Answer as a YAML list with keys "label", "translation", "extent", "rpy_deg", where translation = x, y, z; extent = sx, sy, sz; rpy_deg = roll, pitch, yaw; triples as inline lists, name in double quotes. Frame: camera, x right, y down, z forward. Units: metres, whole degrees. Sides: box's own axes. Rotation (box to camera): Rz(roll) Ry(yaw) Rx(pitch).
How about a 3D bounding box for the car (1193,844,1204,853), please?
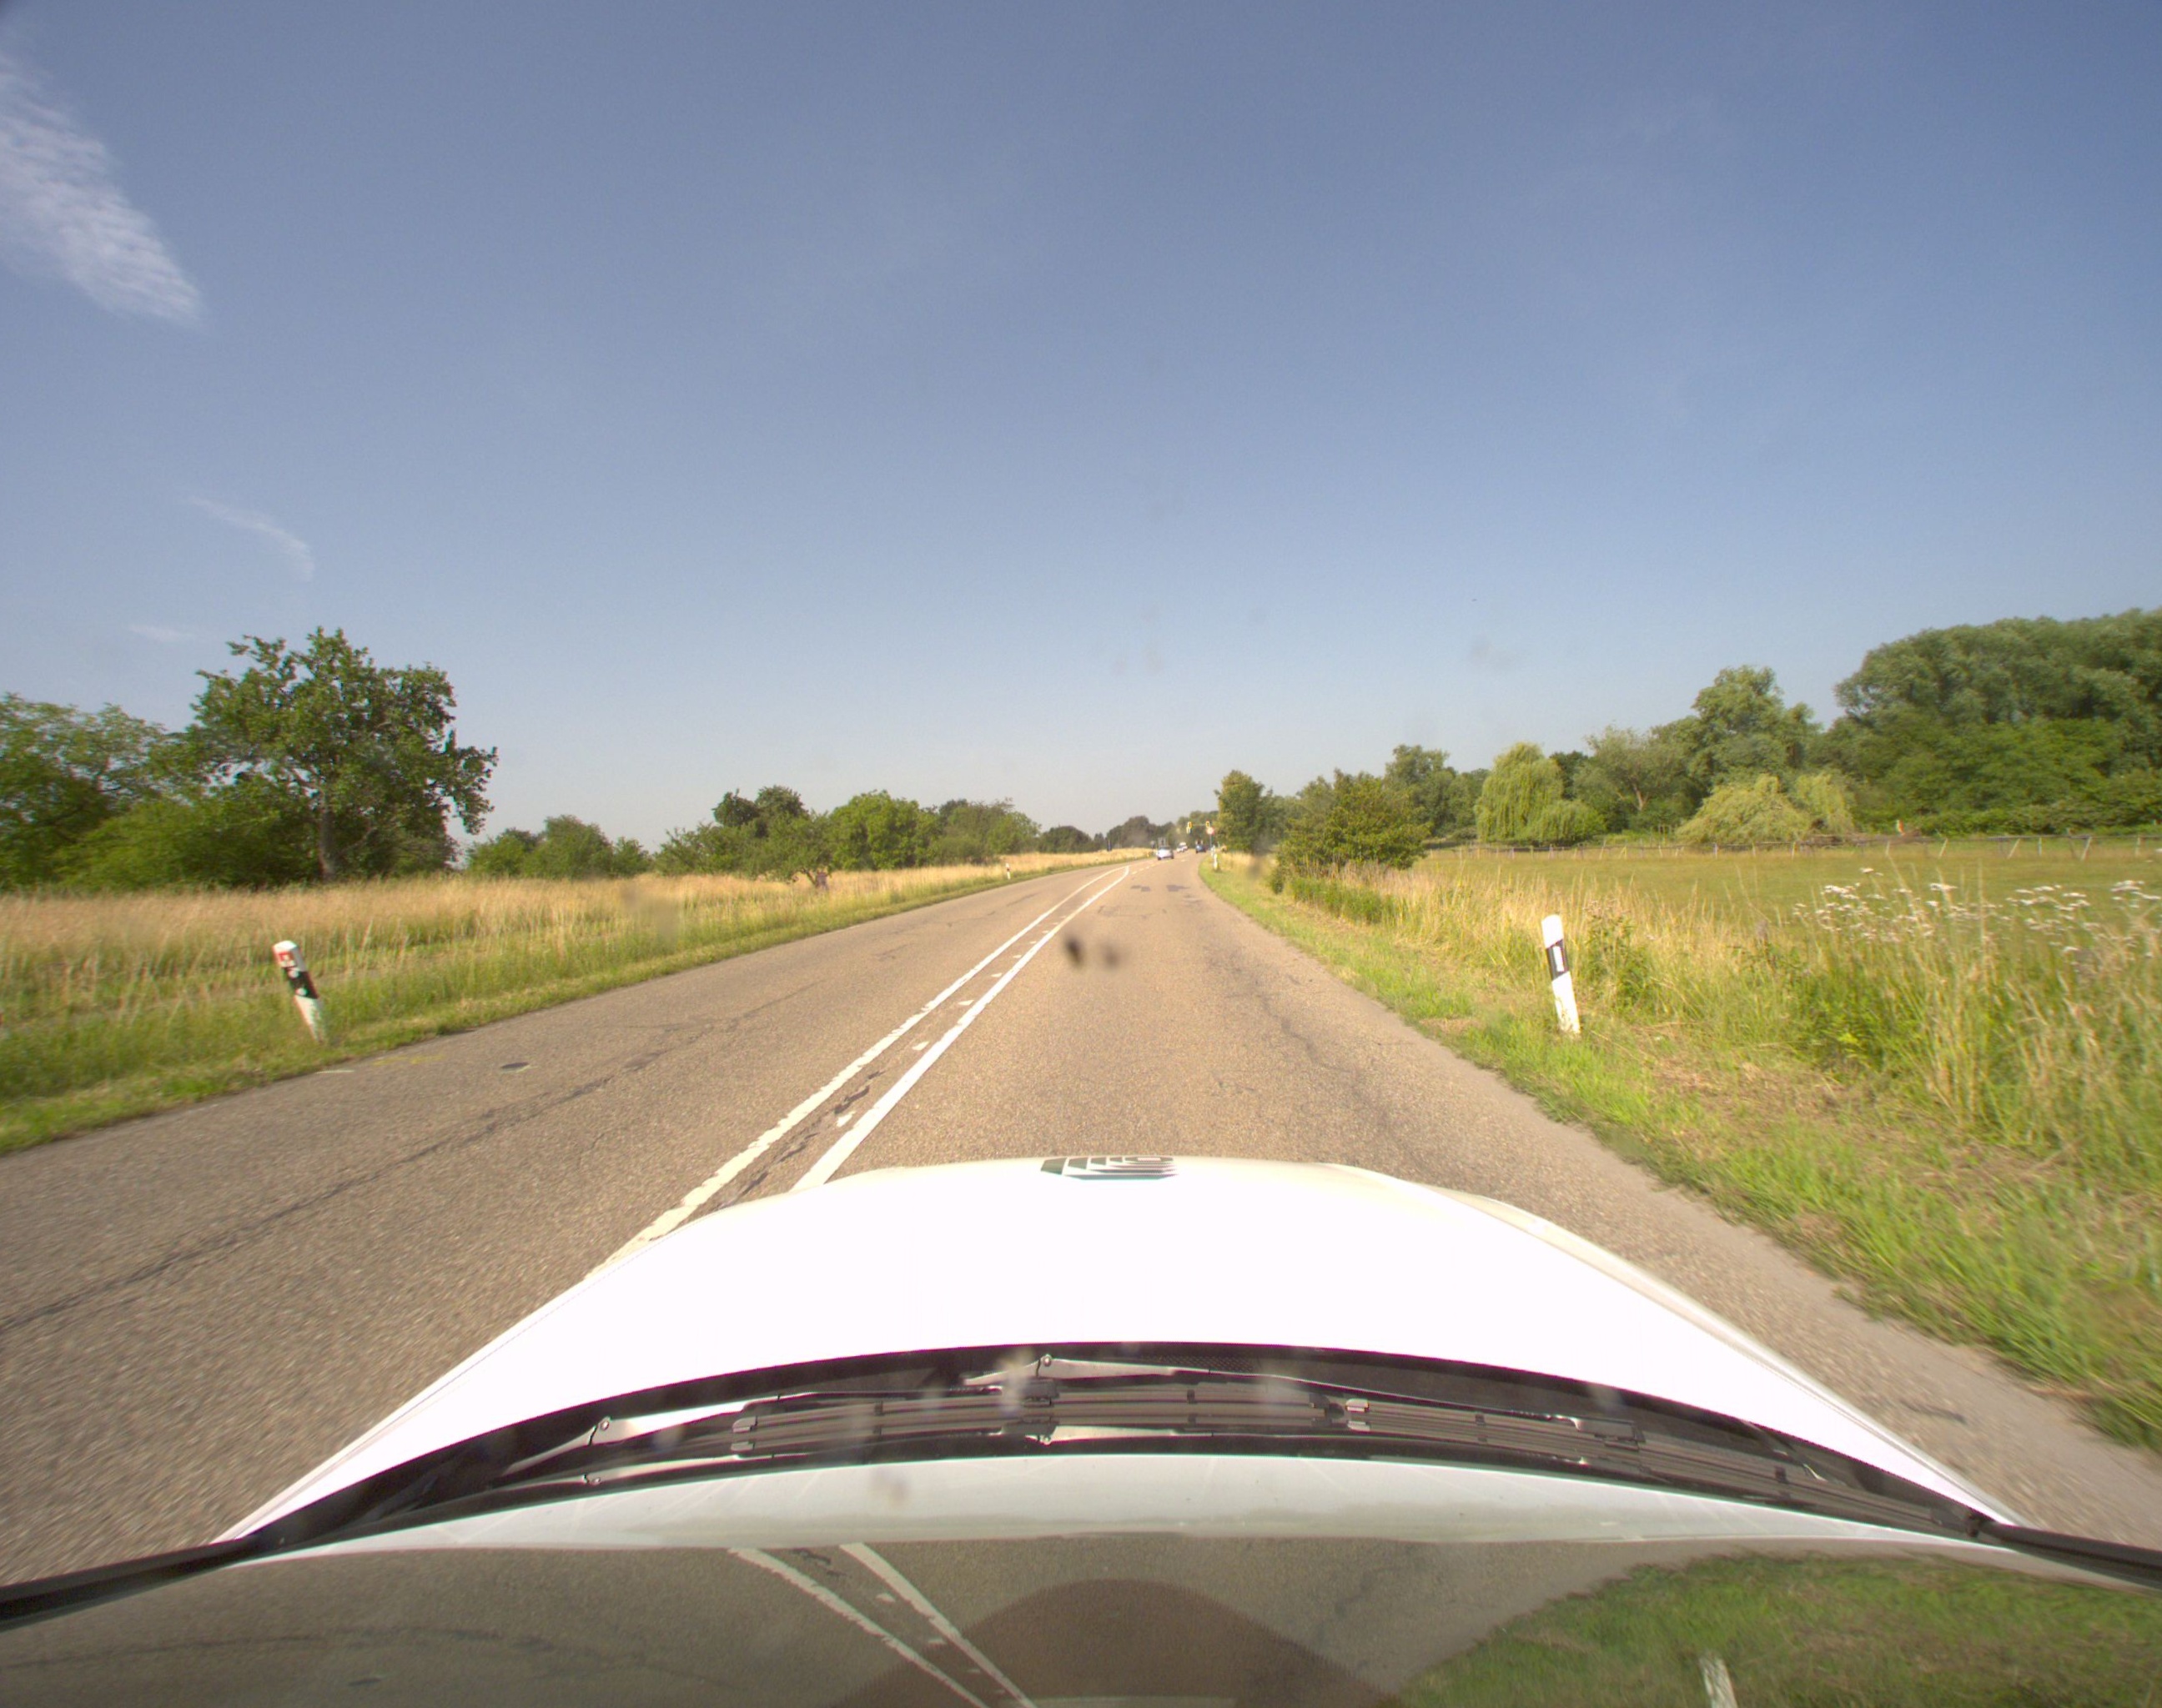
- label: "car"
  translation: [21.440, -0.977, 148.100]
  extent: [1.805, 1.520, 4.012]
  rpy_deg: [-1, 0, 10]

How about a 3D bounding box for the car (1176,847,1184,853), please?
- label: "car"
  translation: [28.089, -1.196, 230.854]
  extent: [1.824, 1.694, 3.871]
  rpy_deg: [-3, 0, 10]

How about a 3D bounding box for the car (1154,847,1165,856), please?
- label: "car"
  translation: [14.049, -0.529, 146.152]
  extent: [1.803, 1.585, 4.232]
  rpy_deg: [-1, 0, 7]

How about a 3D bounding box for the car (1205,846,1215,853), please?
- label: "car"
  translation: [29.212, -0.968, 184.209]
  extent: [1.832, 1.552, 4.006]
  rpy_deg: [-1, 0, 5]

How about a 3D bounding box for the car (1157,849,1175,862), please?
- label: "car"
  translation: [10.195, 0.177, 97.382]
  extent: [1.888, 1.512, 4.011]
  rpy_deg: [-1, 0, 9]
